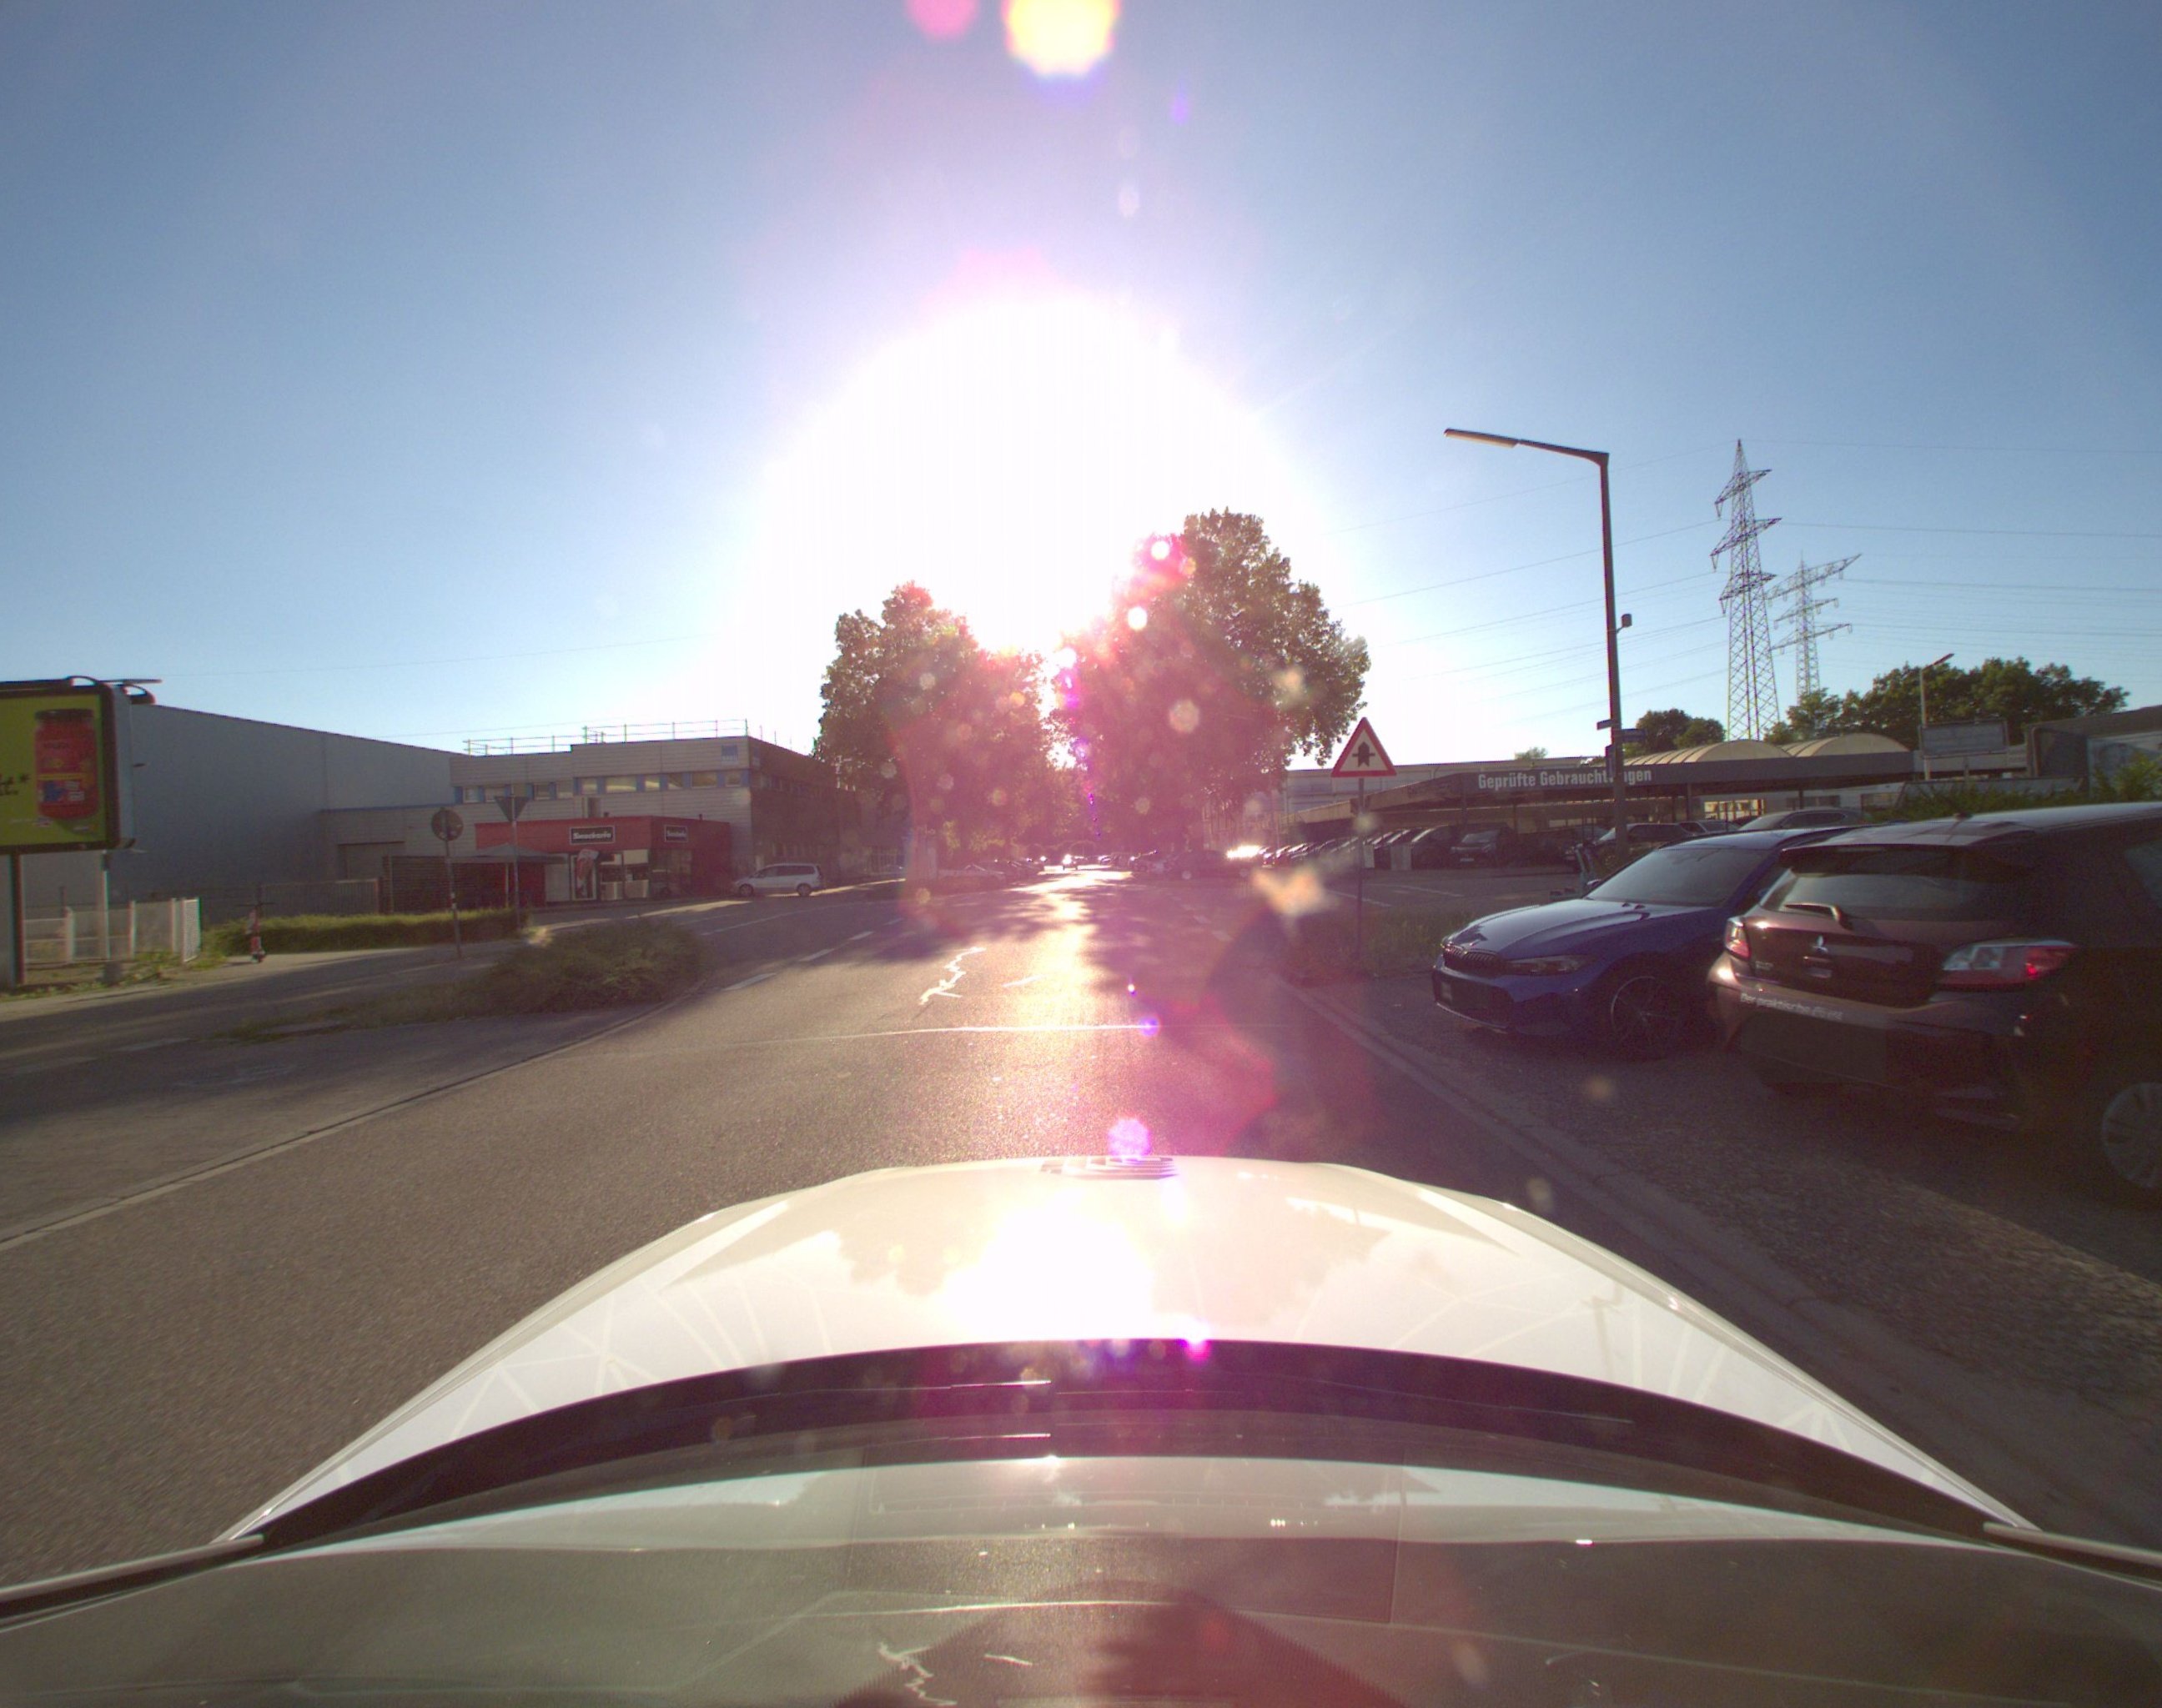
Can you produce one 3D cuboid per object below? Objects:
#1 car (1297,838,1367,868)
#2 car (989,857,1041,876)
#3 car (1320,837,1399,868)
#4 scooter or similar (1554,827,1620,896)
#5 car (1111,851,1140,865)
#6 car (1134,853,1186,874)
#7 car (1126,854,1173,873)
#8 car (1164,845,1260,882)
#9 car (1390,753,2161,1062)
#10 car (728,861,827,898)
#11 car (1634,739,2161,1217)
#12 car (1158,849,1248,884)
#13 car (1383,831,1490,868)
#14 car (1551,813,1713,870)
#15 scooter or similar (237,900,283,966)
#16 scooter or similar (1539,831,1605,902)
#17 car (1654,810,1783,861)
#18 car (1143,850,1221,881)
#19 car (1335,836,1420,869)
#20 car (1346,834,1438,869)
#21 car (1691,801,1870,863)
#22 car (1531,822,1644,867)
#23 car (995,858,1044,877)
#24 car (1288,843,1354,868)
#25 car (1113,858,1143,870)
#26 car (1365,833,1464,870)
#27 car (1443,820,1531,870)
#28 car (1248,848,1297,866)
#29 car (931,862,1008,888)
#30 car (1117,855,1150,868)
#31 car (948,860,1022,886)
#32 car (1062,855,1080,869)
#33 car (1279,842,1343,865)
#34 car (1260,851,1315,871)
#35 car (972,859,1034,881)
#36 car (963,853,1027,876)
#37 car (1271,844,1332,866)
[{"bbox_3d":[16.454,-0.064,53.467,3.974,1.832,2.000,-1,-1,0],"label":"car"},{"bbox_3d":[-5.875,1.107,72.969,4.398,1.517,2.001,-1,-1,2],"label":"car"},{"bbox_3d":[16.463,-0.052,48.211,3.974,1.700,2.000,-1,-1,0],"label":"car"},{"bbox_3d":[9.900,0.146,15.971,0.441,1.298,1.294,-1,-1,-1],"label":"scooter or similar"},{"bbox_3d":[6.351,0.631,115.516,3.973,1.777,1.827,-3,-1,1],"label":"car"},{"bbox_3d":[6.250,0.729,64.911,3.973,1.416,1.827,-3,-1,1],"label":"car"},{"bbox_3d":[5.945,0.815,70.896,3.973,1.381,1.827,-3,-1,1],"label":"car"},{"bbox_3d":[5.845,0.442,36.688,3.973,1.416,2.000,-3,-1,1],"label":"car"},{"bbox_3d":[5.024,0.342,6.308,4.513,1.672,1.752,-5,-1,-3],"label":"car"},{"bbox_3d":[-15.829,1.323,42.750,4.637,1.741,1.990,-1,-1,-15],"label":"car"},{"bbox_3d":[5.235,0.298,3.852,3.976,1.652,1.741,-5,-1,-2],"label":"car"},{"bbox_3d":[5.774,0.593,38.976,3.973,1.416,2.000,-3,-1,1],"label":"car"},{"bbox_3d":[16.107,-0.194,37.061,3.974,1.568,2.000,-1,-1,0],"label":"car"},{"bbox_3d":[18.270,-0.377,27.131,3.976,1.605,1.998,-2,-3,-2],"label":"car"},{"bbox_3d":[-16.435,1.558,16.315,1.372,1.200,0.629,-2,-1,45],"label":"scooter or similar"},{"bbox_3d":[9.396,0.228,15.626,0.441,1.298,1.294,-1,-1,-1],"label":"scooter or similar"},{"bbox_3d":[25.388,-0.671,32.636,1.987,1.734,3.999,-2,-2,0],"label":"car"},{"bbox_3d":[5.422,0.632,44.035,3.973,1.416,1.827,-3,-1,1],"label":"car"},{"bbox_3d":[16.490,-0.082,45.426,3.974,1.700,2.000,-1,-1,0],"label":"car"},{"bbox_3d":[16.065,-0.105,42.181,3.974,1.700,2.000,-1,-1,0],"label":"car"},{"bbox_3d":[22.792,-0.697,26.670,4.097,1.704,1.998,-2,-3,-2],"label":"car"},{"bbox_3d":[20.180,-0.331,32.671,1.987,1.602,3.999,-2,-1,0],"label":"car"},{"bbox_3d":[-5.888,1.297,78.027,4.398,1.697,2.001,-1,-1,2],"label":"car"},{"bbox_3d":[16.476,0.104,56.019,3.974,1.546,2.000,-1,-1,0],"label":"car"},{"bbox_3d":[6.502,1.352,112.060,3.973,1.416,1.827,-3,-1,1],"label":"car"},{"bbox_3d":[16.163,-0.116,39.626,3.974,1.634,2.000,-1,-1,0],"label":"car"},{"bbox_3d":[16.466,-0.319,32.949,1.915,1.770,4.023,-5,-4,44],"label":"car"},{"bbox_3d":[17.342,0.248,74.040,3.974,1.546,2.000,-1,-1,0],"label":"car"},{"bbox_3d":[-6.675,1.259,49.074,4.407,1.403,1.997,-1,-1,-4],"label":"car"},{"bbox_3d":[6.388,0.905,99.516,3.973,1.416,1.827,-3,-1,1],"label":"car"},{"bbox_3d":[-6.051,1.204,51.534,4.402,1.517,1.999,-1,-1,-1],"label":"car"},{"bbox_3d":[-1.167,0.996,96.454,1.986,1.609,4.001,0,-1,1],"label":"car"},{"bbox_3d":[16.483,-0.039,58.457,3.974,1.546,2.000,-1,-1,0],"label":"car"},{"bbox_3d":[16.907,0.552,66.799,3.974,1.504,2.000,-1,-1,0],"label":"car"},{"bbox_3d":[-5.878,1.218,61.807,4.398,1.517,2.001,-1,-1,2],"label":"car"},{"bbox_3d":[-6.182,0.763,58.687,4.404,1.517,1.998,-1,-1,-3],"label":"car"},{"bbox_3d":[16.535,0.092,61.184,3.974,1.546,2.000,-1,-1,0],"label":"car"}]
